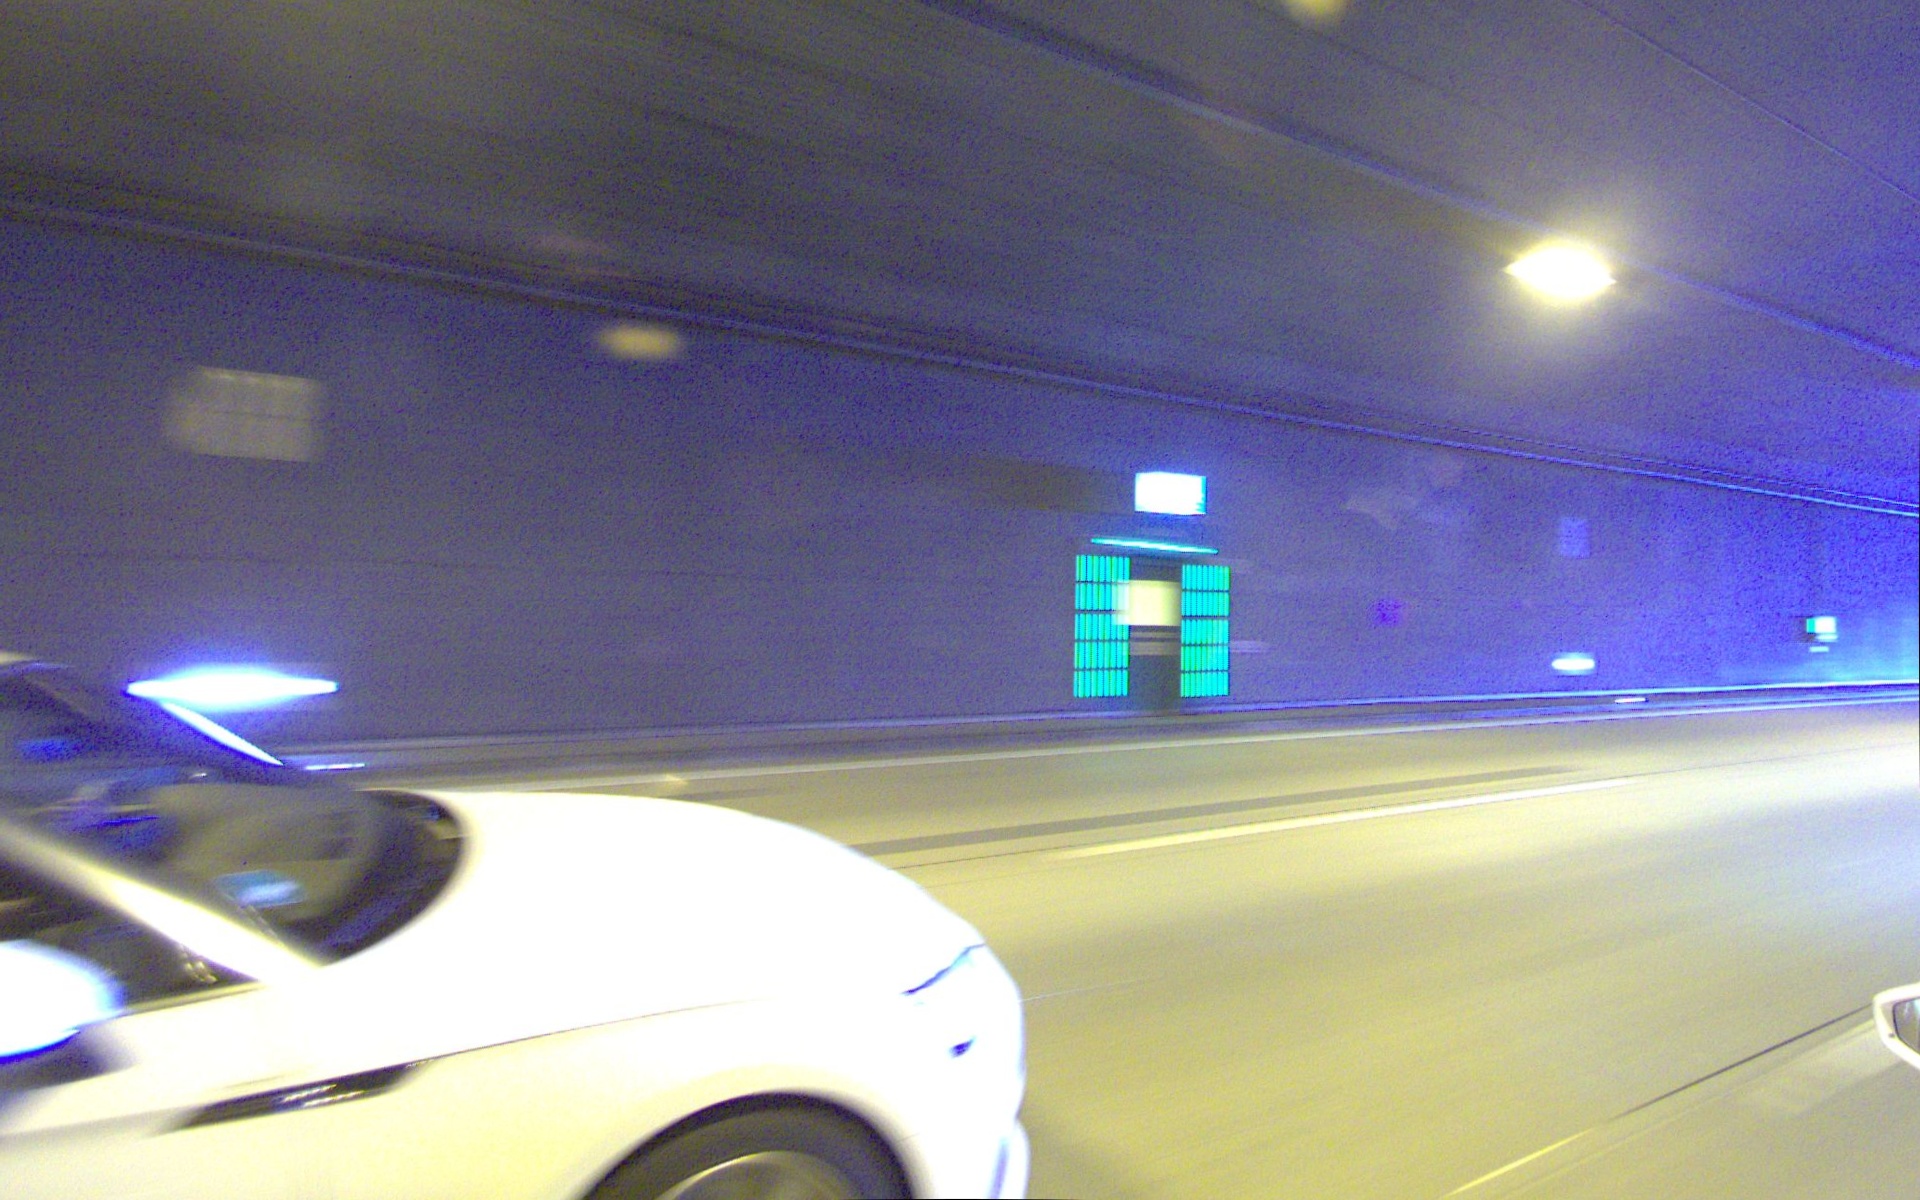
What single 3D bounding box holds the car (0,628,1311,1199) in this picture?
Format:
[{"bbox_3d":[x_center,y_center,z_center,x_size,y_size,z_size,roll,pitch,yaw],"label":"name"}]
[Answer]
[{"bbox_3d":[-1.812,0.777,1.622,5.002,1.437,1.694,2,-2,-31],"label":"car"}]
